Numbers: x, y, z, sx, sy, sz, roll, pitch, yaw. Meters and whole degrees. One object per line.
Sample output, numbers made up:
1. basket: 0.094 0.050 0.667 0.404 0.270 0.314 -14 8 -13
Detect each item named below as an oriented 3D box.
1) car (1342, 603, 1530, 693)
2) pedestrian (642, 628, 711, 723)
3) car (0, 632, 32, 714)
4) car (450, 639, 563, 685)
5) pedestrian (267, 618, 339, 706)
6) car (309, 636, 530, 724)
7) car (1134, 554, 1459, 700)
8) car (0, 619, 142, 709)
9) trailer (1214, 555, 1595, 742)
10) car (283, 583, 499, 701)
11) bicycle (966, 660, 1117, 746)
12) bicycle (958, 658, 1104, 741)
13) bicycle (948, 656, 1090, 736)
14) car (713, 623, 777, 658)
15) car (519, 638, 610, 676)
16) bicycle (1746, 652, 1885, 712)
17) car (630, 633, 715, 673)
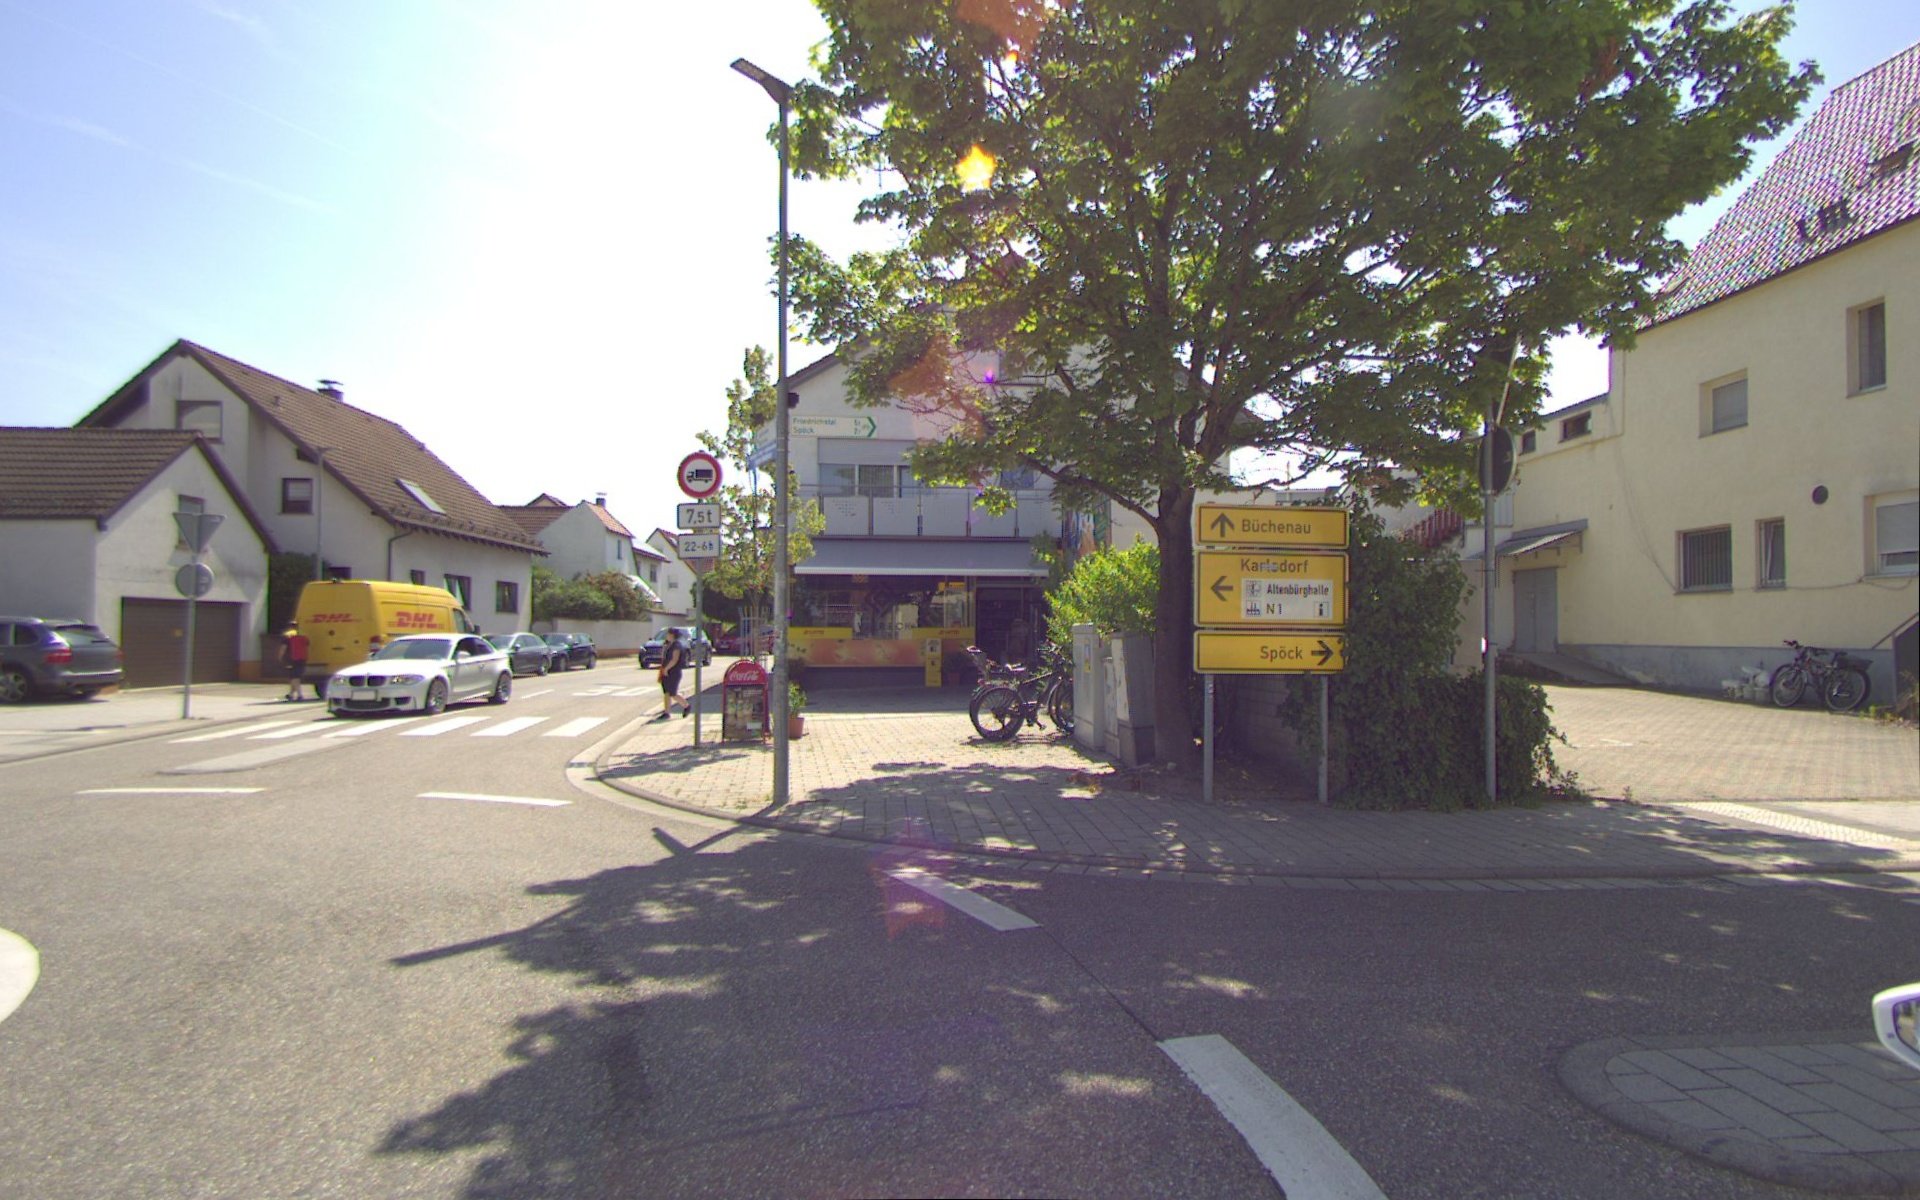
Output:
1. car: 10.481 0.972 22.555 1.868 1.783 4.580 1 0 -3
2. pedestrian: -4.976 1.303 17.638 0.739 1.610 0.876 -2 -1 39
3. car: -19.517 1.284 17.694 4.393 1.470 1.835 1 -2 -5
4. car: -14.622 1.974 32.644 1.750 1.261 3.974 0 0 2
5. pedestrian: -14.251 1.336 21.807 1.003 1.850 0.783 -2 -1 0
6. car: -10.005 1.418 19.041 1.844 1.468 4.335 0 -2 0
7. car: 6.260 0.491 19.081 5.538 2.601 1.942 0 0 -3
8. car: -20.152 1.282 20.779 4.659 1.762 1.986 1 -2 -5
9. trailer: 5.959 0.621 13.819 4.436 2.366 1.884 0 0 -3
10. car: -13.890 1.034 25.055 2.071 2.606 5.686 -1 -2 1
11. bicycle: 1.087 1.342 13.313 1.950 1.017 0.400 -1 -1 -16
12. bicycle: 0.978 1.341 13.754 1.950 1.017 0.400 -1 -1 -16
13. bicycle: 0.840 1.339 14.183 1.950 1.017 0.400 -1 -1 -16
14. car: -12.043 2.244 56.486 1.836 1.857 3.974 0 0 17
15. car: -14.898 2.111 38.027 1.750 1.261 3.974 0 0 2
16. bicycle: 14.457 1.359 17.059 0.531 0.925 2.177 0 -2 2
17. car: -11.576 2.112 40.785 1.842 1.369 4.419 1 0 5
